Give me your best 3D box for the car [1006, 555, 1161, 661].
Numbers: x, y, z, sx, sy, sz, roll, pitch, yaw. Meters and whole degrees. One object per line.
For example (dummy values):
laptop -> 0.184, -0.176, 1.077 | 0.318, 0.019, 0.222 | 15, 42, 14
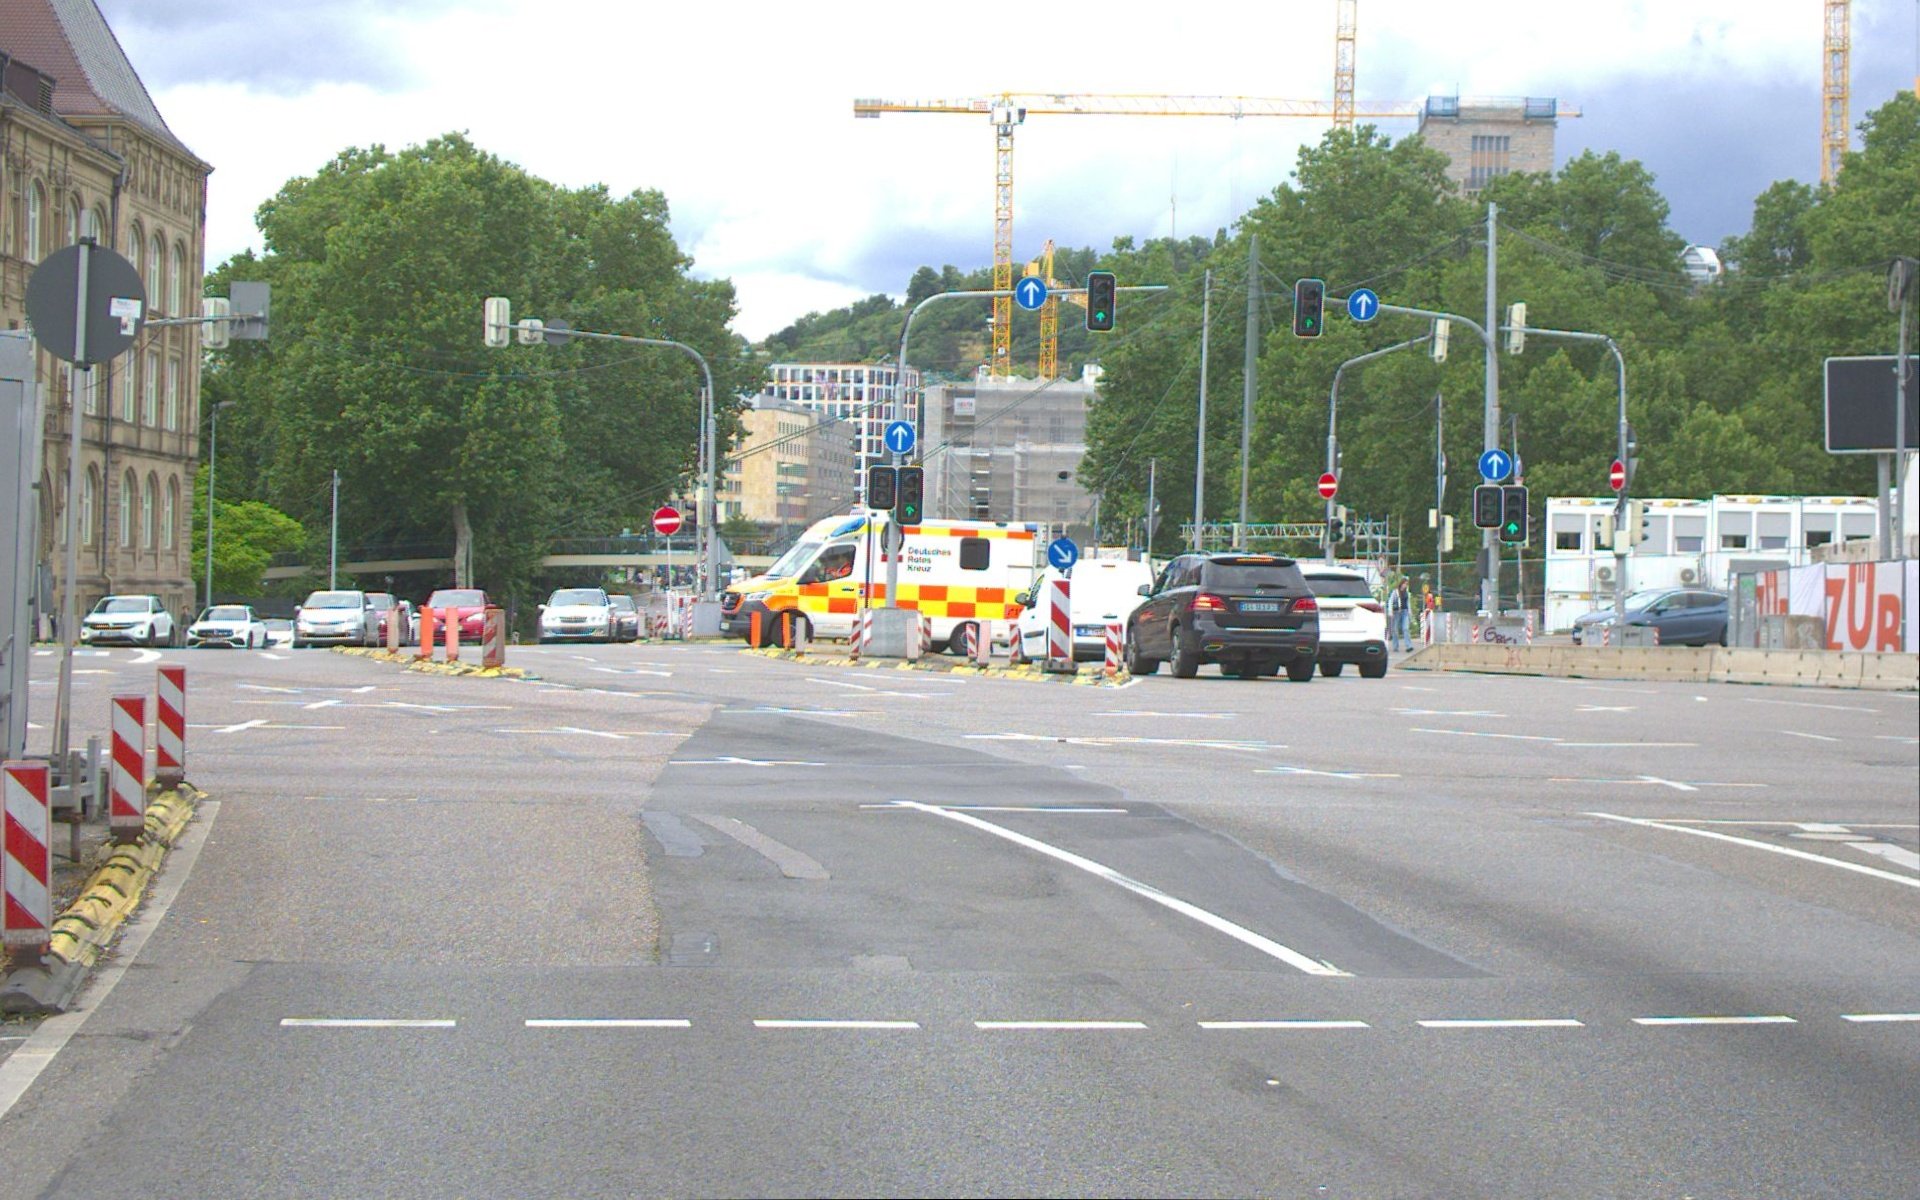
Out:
car -> 1.951, 0.102, 55.536 | 1.816, 1.619, 4.001 | 1, 1, -8

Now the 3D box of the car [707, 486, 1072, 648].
car -> -1.386, -0.632, 67.429 | 6.735, 3.041, 2.373 | 1, 0, -18

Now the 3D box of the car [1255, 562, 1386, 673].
car -> 5.702, 0.250, 54.674 | 1.676, 1.696, 3.374 | 1, 1, -1

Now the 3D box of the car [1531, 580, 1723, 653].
car -> 15.471, 0.376, 79.789 | 3.986, 1.619, 1.823 | 1, 1, -19

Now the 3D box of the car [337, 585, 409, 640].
car -> -15.663, 0.323, 91.800 | 1.675, 1.393, 3.684 | 1, 1, -7

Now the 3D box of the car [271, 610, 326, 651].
car -> -23.910, 1.107, 124.389 | 1.675, 1.393, 3.684 | 1, 1, -7

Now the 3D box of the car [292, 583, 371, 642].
car -> -15.643, 0.285, 85.639 | 1.675, 1.393, 3.684 | 1, 1, -7

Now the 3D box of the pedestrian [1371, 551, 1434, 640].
pedestrian -> 10.155, -0.107, 78.918 | 1.094, 2.007, 1.185 | 1, 0, -12

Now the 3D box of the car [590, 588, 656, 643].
car -> -9.048, 0.388, 92.010 | 1.675, 1.393, 3.684 | 1, 1, -7

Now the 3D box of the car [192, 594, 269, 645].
car -> -22.029, 0.567, 103.892 | 1.676, 1.393, 3.683 | 2, 1, -3

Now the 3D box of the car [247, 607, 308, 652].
car -> -22.794, 0.972, 114.887 | 1.675, 1.393, 3.684 | 1, 1, -7

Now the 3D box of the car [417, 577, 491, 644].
car -> -12.448, 0.248, 84.729 | 1.675, 1.575, 3.684 | 1, 1, -7

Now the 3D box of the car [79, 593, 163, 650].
car -> -21.865, 0.540, 89.702 | 1.675, 1.393, 3.684 | 1, 1, -7

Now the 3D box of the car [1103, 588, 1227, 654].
car -> 4.505, 0.450, 75.998 | 1.675, 1.393, 3.087 | 1, 1, -19

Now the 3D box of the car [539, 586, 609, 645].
car -> -9.564, 0.375, 85.099 | 1.675, 1.393, 3.684 | 1, 1, -7

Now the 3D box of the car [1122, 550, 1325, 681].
car -> 3.661, 0.187, 48.490 | 1.831, 1.740, 4.257 | 1, 1, -10
